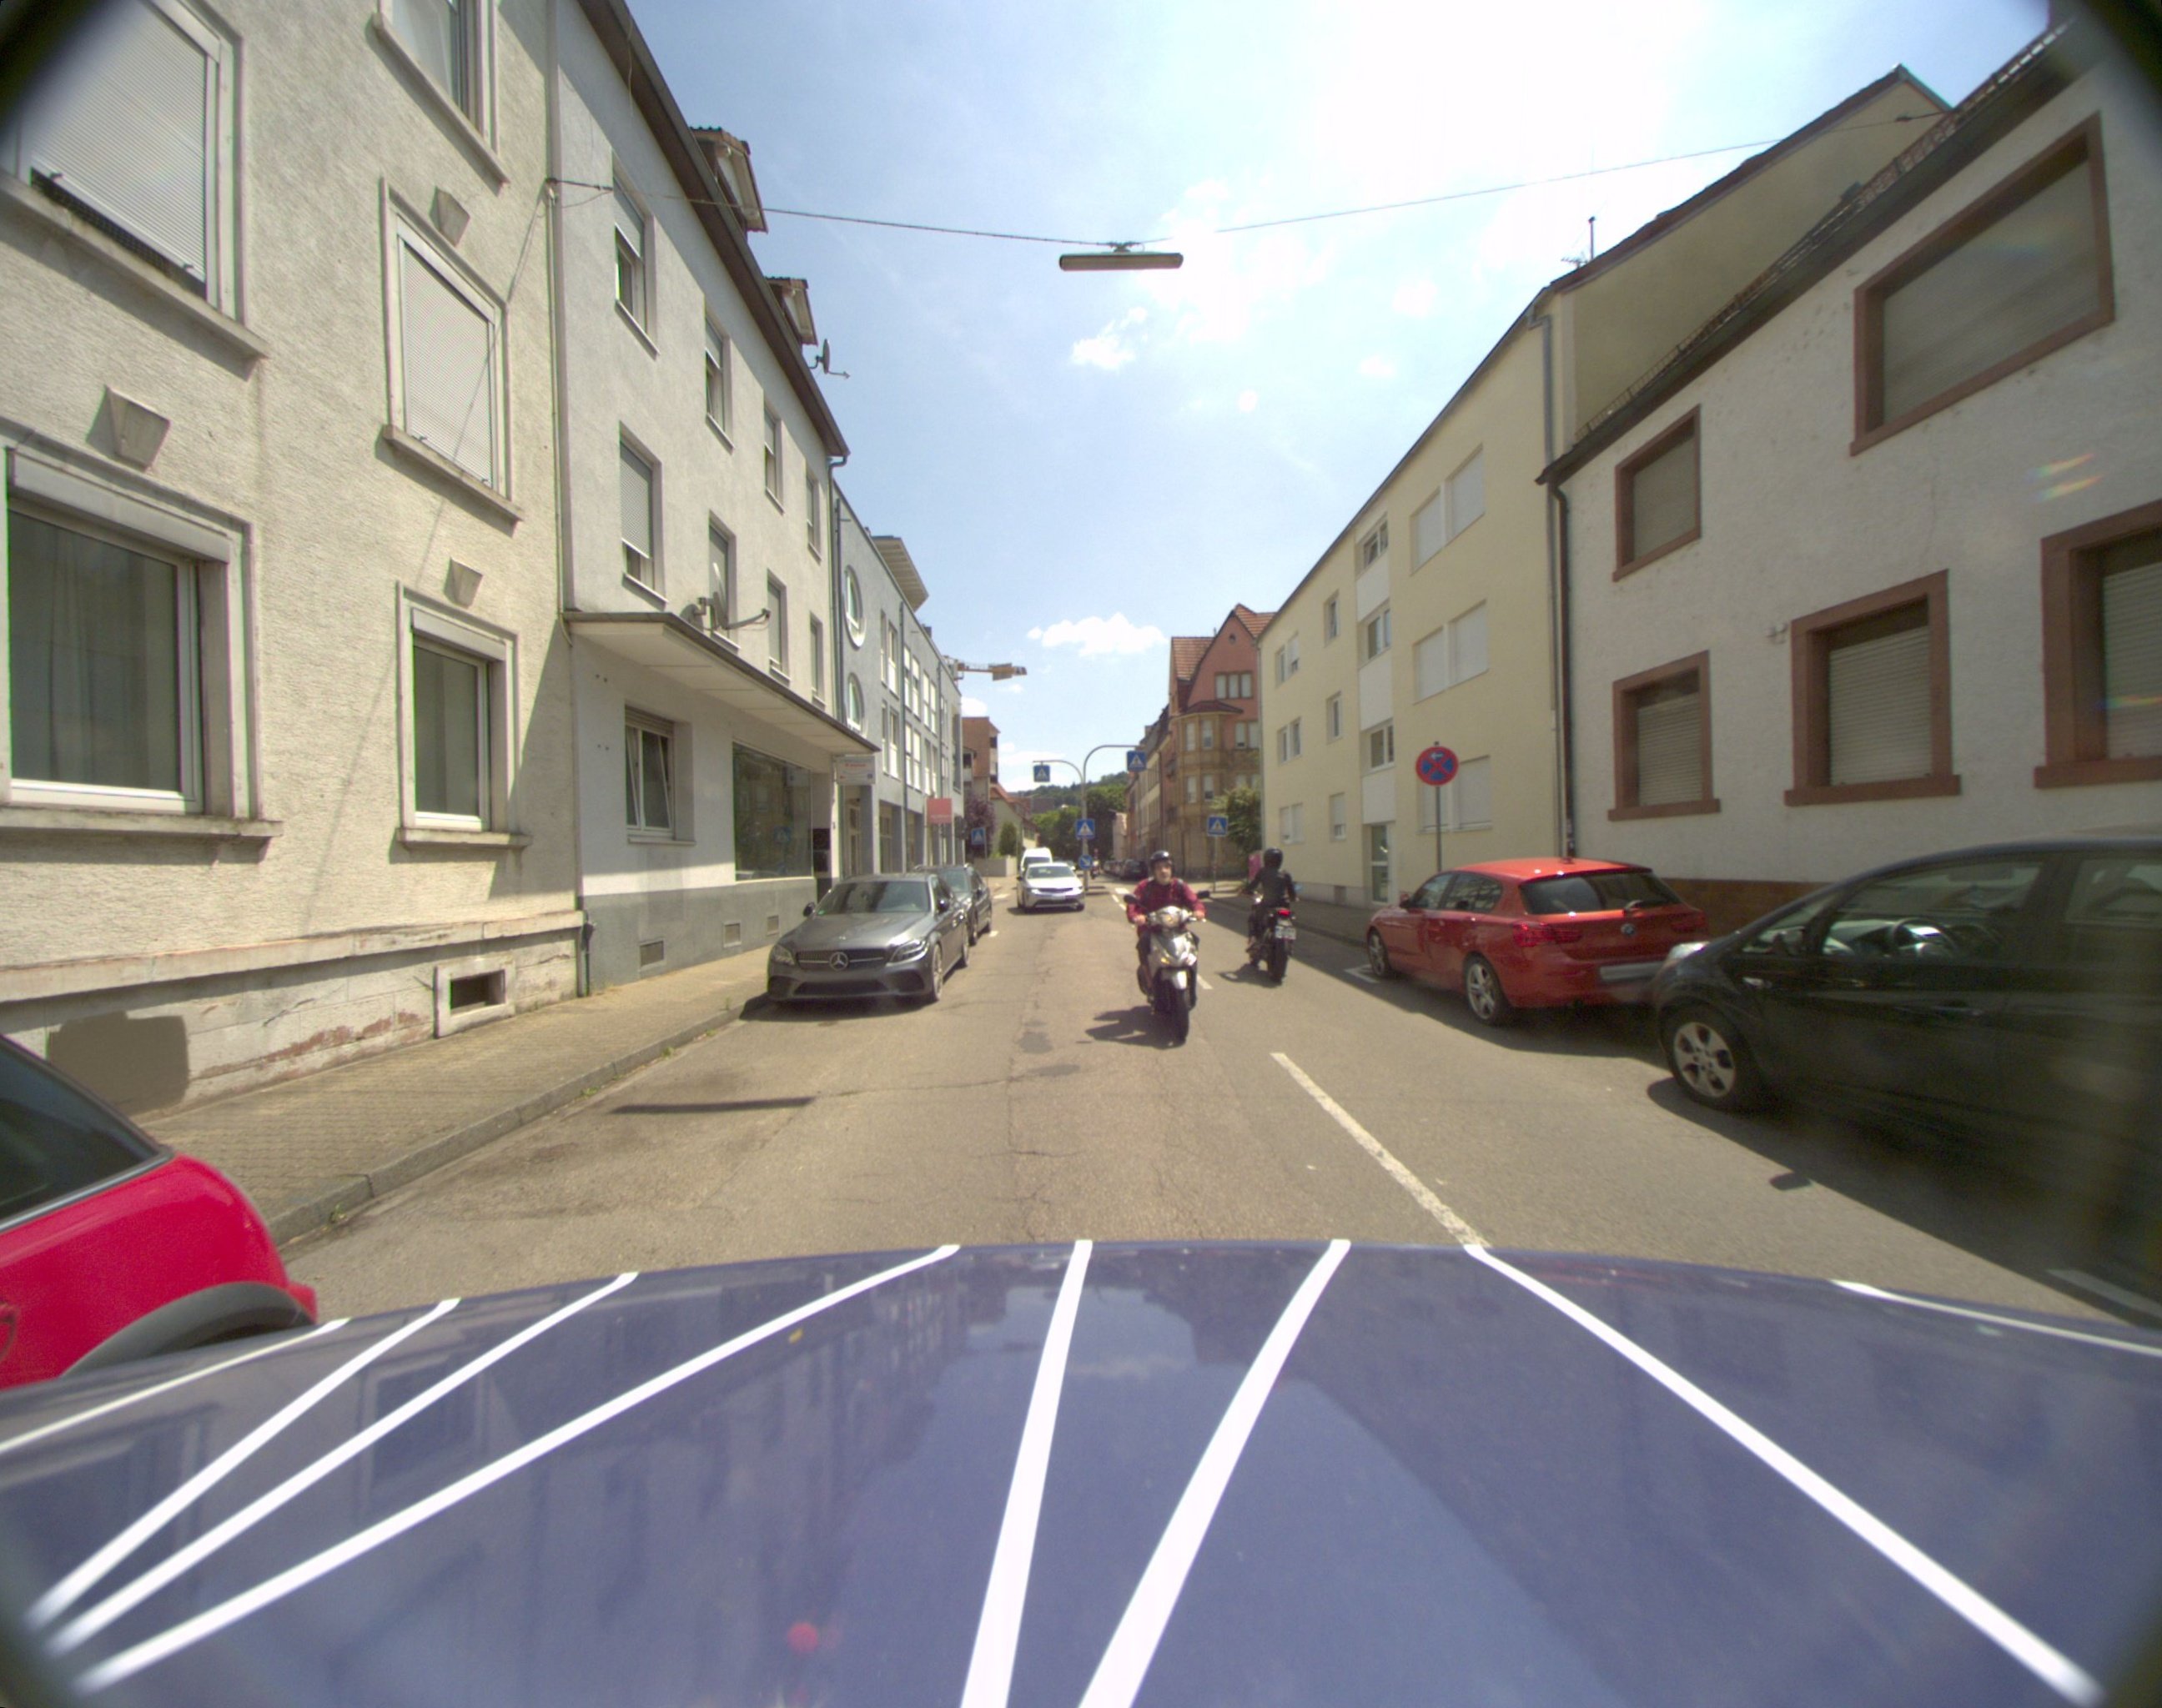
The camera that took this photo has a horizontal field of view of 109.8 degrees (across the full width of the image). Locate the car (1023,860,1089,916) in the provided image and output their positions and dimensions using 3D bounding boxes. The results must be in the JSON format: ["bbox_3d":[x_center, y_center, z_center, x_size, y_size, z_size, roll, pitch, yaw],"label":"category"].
[{"bbox_3d":[-0.743,0.976,23.472,1.812,1.512,4.000,-2,0,-1],"label":"car"}]

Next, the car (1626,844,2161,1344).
[{"bbox_3d":[4.545,0.812,3.071,1.799,1.637,3.944,-3,0,0],"label":"car"}]

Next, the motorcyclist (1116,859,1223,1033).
[{"bbox_3d":[0.765,0.779,6.903,0.793,1.431,1.020,-2,0,0],"label":"motorcyclist"}]

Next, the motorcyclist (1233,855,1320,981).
[{"bbox_3d":[2.470,0.775,9.717,0.824,1.500,1.056,-1,0,0],"label":"motorcyclist"}]

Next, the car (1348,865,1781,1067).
[{"bbox_3d":[4.421,0.886,7.912,1.838,1.408,4.290,-1,0,1],"label":"car"}]

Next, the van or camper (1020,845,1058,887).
[{"bbox_3d":[-2.410,0.691,45.186,1.999,2.273,5.144,-1,0,-1],"label":"van or camper"}]

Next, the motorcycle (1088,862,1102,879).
[{"bbox_3d":[1.050,1.231,56.844,0.898,1.169,2.208,-2,0,-1],"label":"motorcycle"}]

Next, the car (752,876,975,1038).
[{"bbox_3d":[-2.476,1.089,9.837,1.734,1.412,4.543,-1,0,-3],"label":"car"}]

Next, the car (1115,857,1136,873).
[{"bbox_3d":[3.945,0.954,67.190,1.639,1.423,4.018,0,0,0],"label":"car"}]

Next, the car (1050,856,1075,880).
[{"bbox_3d":[-1.612,1.213,67.399,1.999,2.002,4.000,-3,0,-1],"label":"car"}]

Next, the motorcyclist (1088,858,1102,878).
[{"bbox_3d":[1.051,1.024,56.835,0.918,1.471,1.203,-2,0,-1],"label":"motorcyclist"}]

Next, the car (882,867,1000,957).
[{"bbox_3d":[-2.722,1.070,15.655,1.714,1.499,3.999,-1,0,-1],"label":"car"}]

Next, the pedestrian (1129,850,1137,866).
[{"bbox_3d":[6.134,0.465,89.548,0.770,1.761,0.763,-3,0,-1],"label":"pedestrian"}]

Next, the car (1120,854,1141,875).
[{"bbox_3d":[3.775,0.772,58.101,1.440,1.514,2.695,-1,0,0],"label":"car"}]

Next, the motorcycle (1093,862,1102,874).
[{"bbox_3d":[1.466,1.204,66.909,0.714,1.022,2.240,-1,0,3],"label":"motorcycle"}]

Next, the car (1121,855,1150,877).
[{"bbox_3d":[3.848,0.822,53.930,1.787,1.449,4.634,-1,0,1],"label":"car"}]

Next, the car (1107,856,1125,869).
[{"bbox_3d":[4.028,0.973,88.557,1.883,1.501,4.381,-1,0,0],"label":"car"}]

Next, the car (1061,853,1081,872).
[{"bbox_3d":[-1.113,0.965,87.369,1.998,2.002,4.000,-3,0,3],"label":"car"}]

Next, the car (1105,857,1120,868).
[{"bbox_3d":[4.012,1.069,97.113,1.715,1.450,3.853,0,0,0],"label":"car"}]

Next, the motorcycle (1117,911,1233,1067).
[{"bbox_3d":[0.779,1.123,6.912,0.760,1.049,1.992,-2,0,0],"label":"motorcycle"}]

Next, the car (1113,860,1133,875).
[{"bbox_3d":[3.997,1.270,73.161,1.602,1.433,3.495,-1,0,-1],"label":"car"}]

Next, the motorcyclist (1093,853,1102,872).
[{"bbox_3d":[1.469,0.719,66.867,0.714,1.625,1.069,-1,0,3],"label":"motorcyclist"}]

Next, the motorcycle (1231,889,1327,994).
[{"bbox_3d":[2.504,1.059,9.846,0.689,1.116,2.027,-1,0,0],"label":"motorcycle"}]
